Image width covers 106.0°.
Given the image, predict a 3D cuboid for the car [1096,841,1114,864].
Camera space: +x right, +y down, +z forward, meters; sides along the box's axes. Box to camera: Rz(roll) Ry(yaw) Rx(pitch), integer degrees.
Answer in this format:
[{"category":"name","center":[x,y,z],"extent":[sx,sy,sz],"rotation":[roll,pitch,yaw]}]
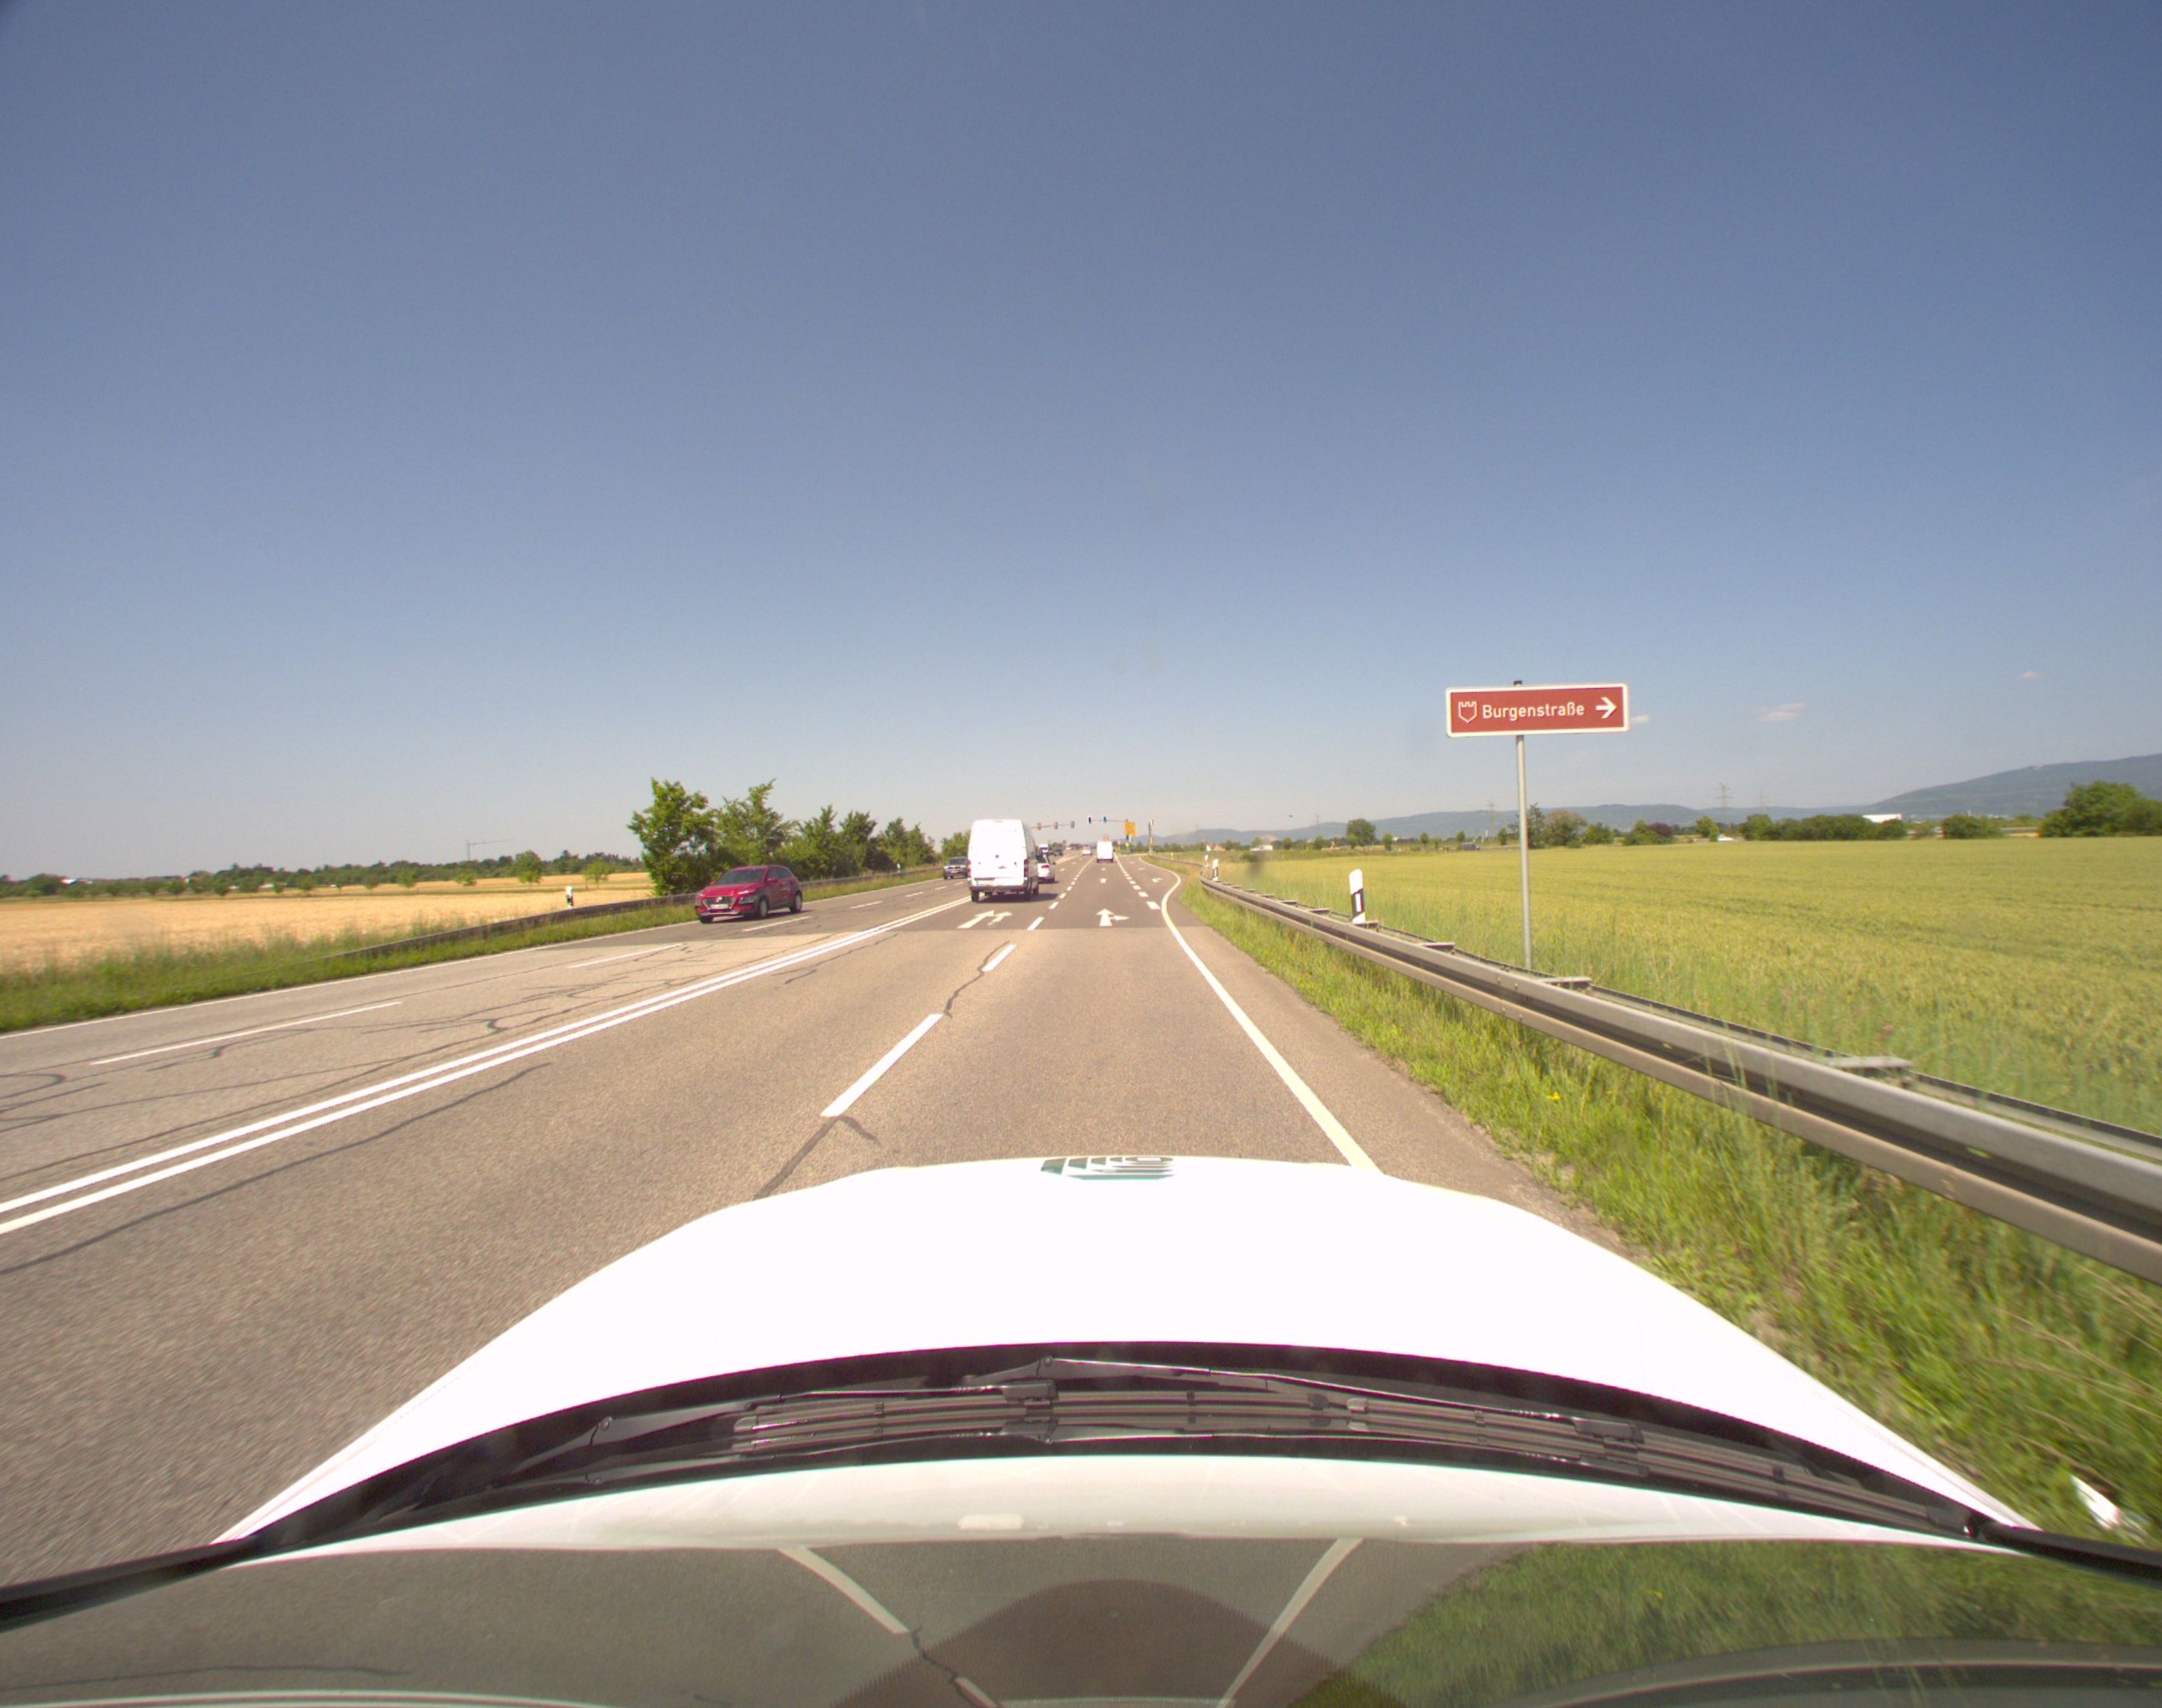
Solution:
[{"category":"car","center":[2.886,-0.160,98.259],"extent":[1.986,2.695,4.971],"rotation":[-2,0,1]}]

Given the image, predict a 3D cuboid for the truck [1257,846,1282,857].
[{"category":"truck","center":[39.843,-0.591,172.400],"extent":[4.849,2.320,1.991],"rotation":[0,-1,-13]}]

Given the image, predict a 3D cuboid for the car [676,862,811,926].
[{"category":"car","center":[-9.872,1.113,24.247],"extent":[1.986,1.562,4.313],"rotation":[-3,0,2]}]

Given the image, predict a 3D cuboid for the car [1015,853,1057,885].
[{"category":"car","center":[-2.305,0.745,42.421],"extent":[1.793,1.508,4.197],"rotation":[-1,0,1]}]

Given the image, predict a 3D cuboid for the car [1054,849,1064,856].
[{"category":"car","center":[-4.475,-0.258,166.748],"extent":[1.850,1.423,4.003],"rotation":[-1,-1,3]}]

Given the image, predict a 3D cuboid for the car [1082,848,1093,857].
[{"category":"car","center":[1.206,-0.313,158.308],"extent":[1.986,1.703,4.277],"rotation":[0,-1,2]}]

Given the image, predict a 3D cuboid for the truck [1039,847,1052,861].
[{"category":"truck","center":[-7.725,-0.002,175.608],"extent":[2.287,2.957,5.286],"rotation":[-1,-1,3]}]

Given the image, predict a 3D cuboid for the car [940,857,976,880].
[{"category":"car","center":[-8.871,1.034,58.990],"extent":[1.813,1.508,4.127],"rotation":[-4,0,1]}]

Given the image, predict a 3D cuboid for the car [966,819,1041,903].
[{"category":"car","center":[-2.576,0.254,28.369],"extent":[2.032,2.620,5.740],"rotation":[0,-1,0]}]
